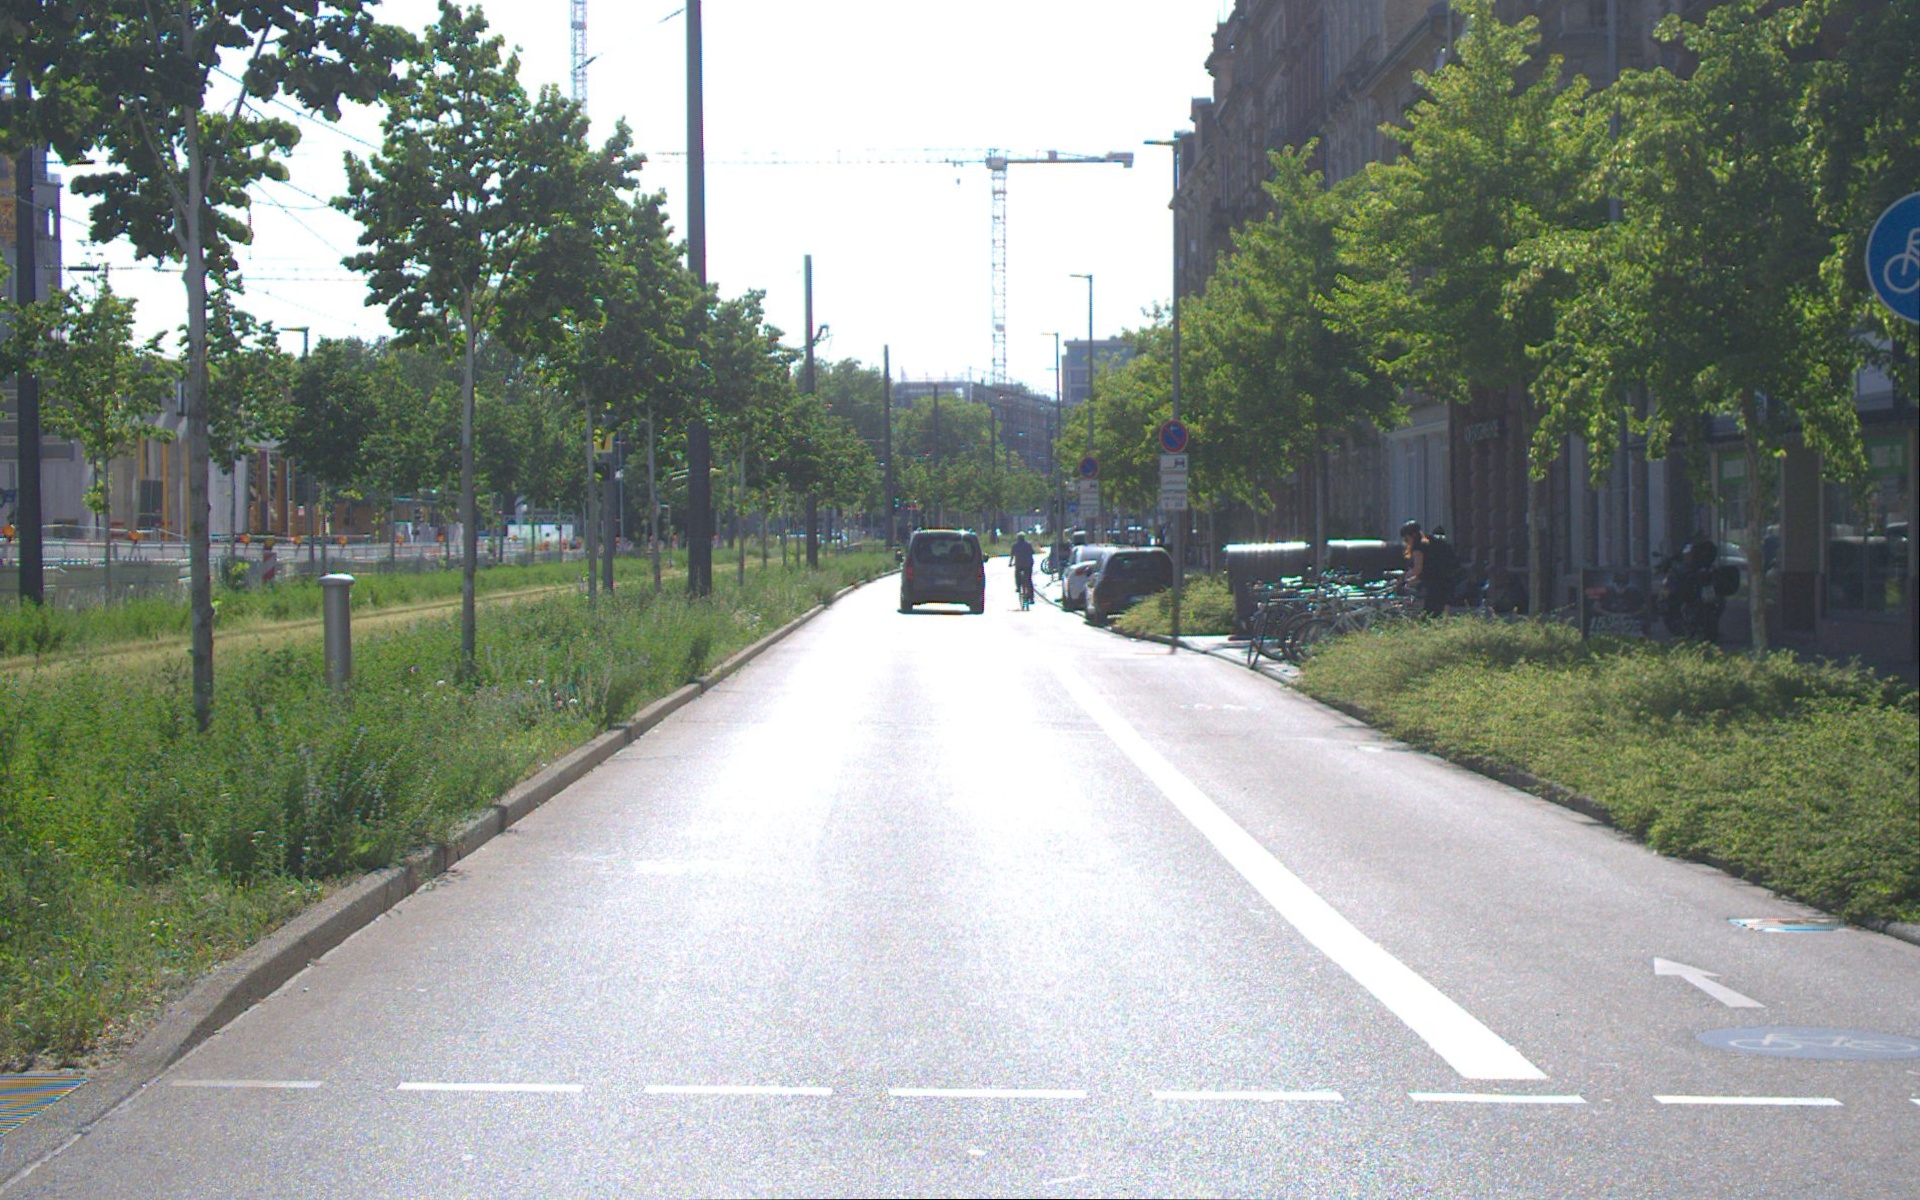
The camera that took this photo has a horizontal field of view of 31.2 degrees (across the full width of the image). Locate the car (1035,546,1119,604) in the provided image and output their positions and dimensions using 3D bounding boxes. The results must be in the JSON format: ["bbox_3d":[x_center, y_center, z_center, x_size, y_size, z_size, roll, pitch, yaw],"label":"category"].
[{"bbox_3d":[3.119,-0.686,92.302,2.028,1.493,4.530,-1,1,-1],"label":"car"}]

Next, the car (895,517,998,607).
[{"bbox_3d":[-0.313,-0.864,76.318,2.200,1.919,4.654,-1,1,-1],"label":"car"}]

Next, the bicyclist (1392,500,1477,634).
[{"bbox_3d":[5.669,-0.396,41.089,0.798,1.525,0.662,-5,1,0],"label":"bicyclist"}]

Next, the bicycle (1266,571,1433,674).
[{"bbox_3d":[4.484,0.255,39.639,1.792,1.027,0.527,-5,1,0],"label":"bicycle"}]

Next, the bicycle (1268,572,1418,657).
[{"bbox_3d":[4.739,0.175,42.596,1.792,1.027,0.527,0,1,0],"label":"bicycle"}]

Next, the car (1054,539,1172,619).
[{"bbox_3d":[2.957,-0.440,67.263,2.028,1.493,4.654,-1,1,-1],"label":"car"}]

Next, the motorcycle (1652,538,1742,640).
[{"bbox_3d":[9.458,-0.155,44.158,0.700,1.263,1.982,-1,1,-1],"label":"motorcycle"}]

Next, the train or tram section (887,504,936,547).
[{"bbox_3d":[-3.198,-4.939,229.278,2.756,2.733,9.863,1,0,2],"label":"train or tram section"}]

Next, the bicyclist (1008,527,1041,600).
[{"bbox_3d":[1.498,-0.854,79.869,0.684,1.667,0.922,2,1,-1],"label":"bicyclist"}]

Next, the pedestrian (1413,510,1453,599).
[{"bbox_3d":[8.616,-0.834,62.599,0.614,1.606,0.669,0,1,-1],"label":"pedestrian"}]

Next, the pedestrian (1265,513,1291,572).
[{"bbox_3d":[8.633,-1.562,93.372,0.614,1.606,0.669,0,1,-1],"label":"pedestrian"}]

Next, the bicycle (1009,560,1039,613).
[{"bbox_3d":[1.473,-0.309,79.581,0.601,1.177,1.869,2,1,-1],"label":"bicycle"}]

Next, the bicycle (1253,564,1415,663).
[{"bbox_3d":[4.457,0.159,41.012,1.792,1.027,0.527,-5,1,0],"label":"bicycle"}]

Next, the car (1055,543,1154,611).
[{"bbox_3d":[3.327,-0.557,79.774,2.028,1.493,4.530,-1,1,-1],"label":"car"}]

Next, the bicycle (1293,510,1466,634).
[{"bbox_3d":[5.003,-0.341,41.090,1.893,1.326,0.617,-5,1,0],"label":"bicycle"}]

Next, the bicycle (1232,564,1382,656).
[{"bbox_3d":[4.433,0.120,43.938,1.792,1.027,0.527,-5,1,0],"label":"bicycle"}]
